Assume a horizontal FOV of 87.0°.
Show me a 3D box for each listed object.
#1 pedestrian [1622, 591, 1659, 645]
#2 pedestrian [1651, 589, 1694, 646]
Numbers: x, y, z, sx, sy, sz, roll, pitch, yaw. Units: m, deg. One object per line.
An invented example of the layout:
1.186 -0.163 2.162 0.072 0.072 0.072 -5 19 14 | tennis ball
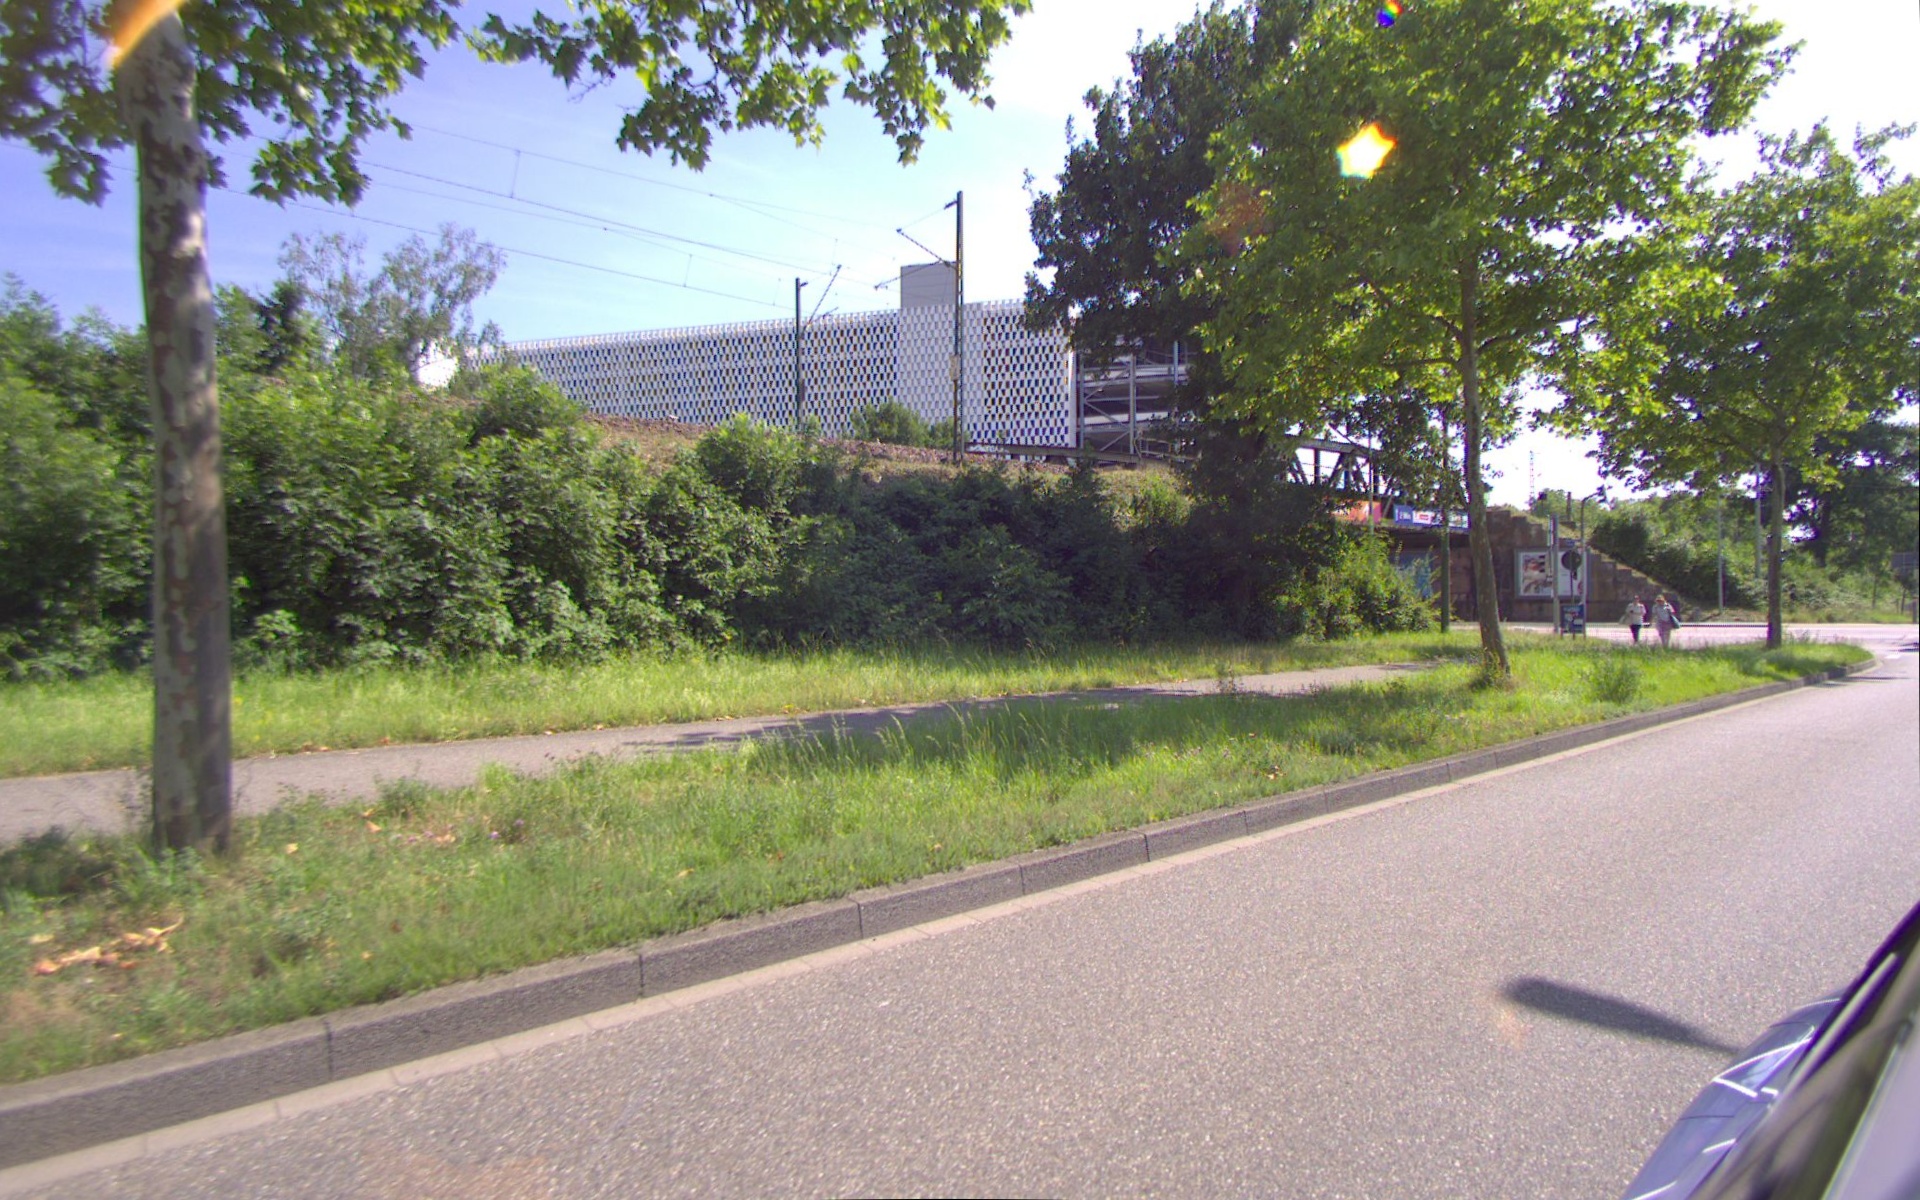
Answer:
20.518 0.522 30.511 0.764 1.599 0.730 0 -1 -41 | pedestrian
20.836 0.513 29.596 0.764 1.632 0.869 0 -1 -41 | pedestrian
